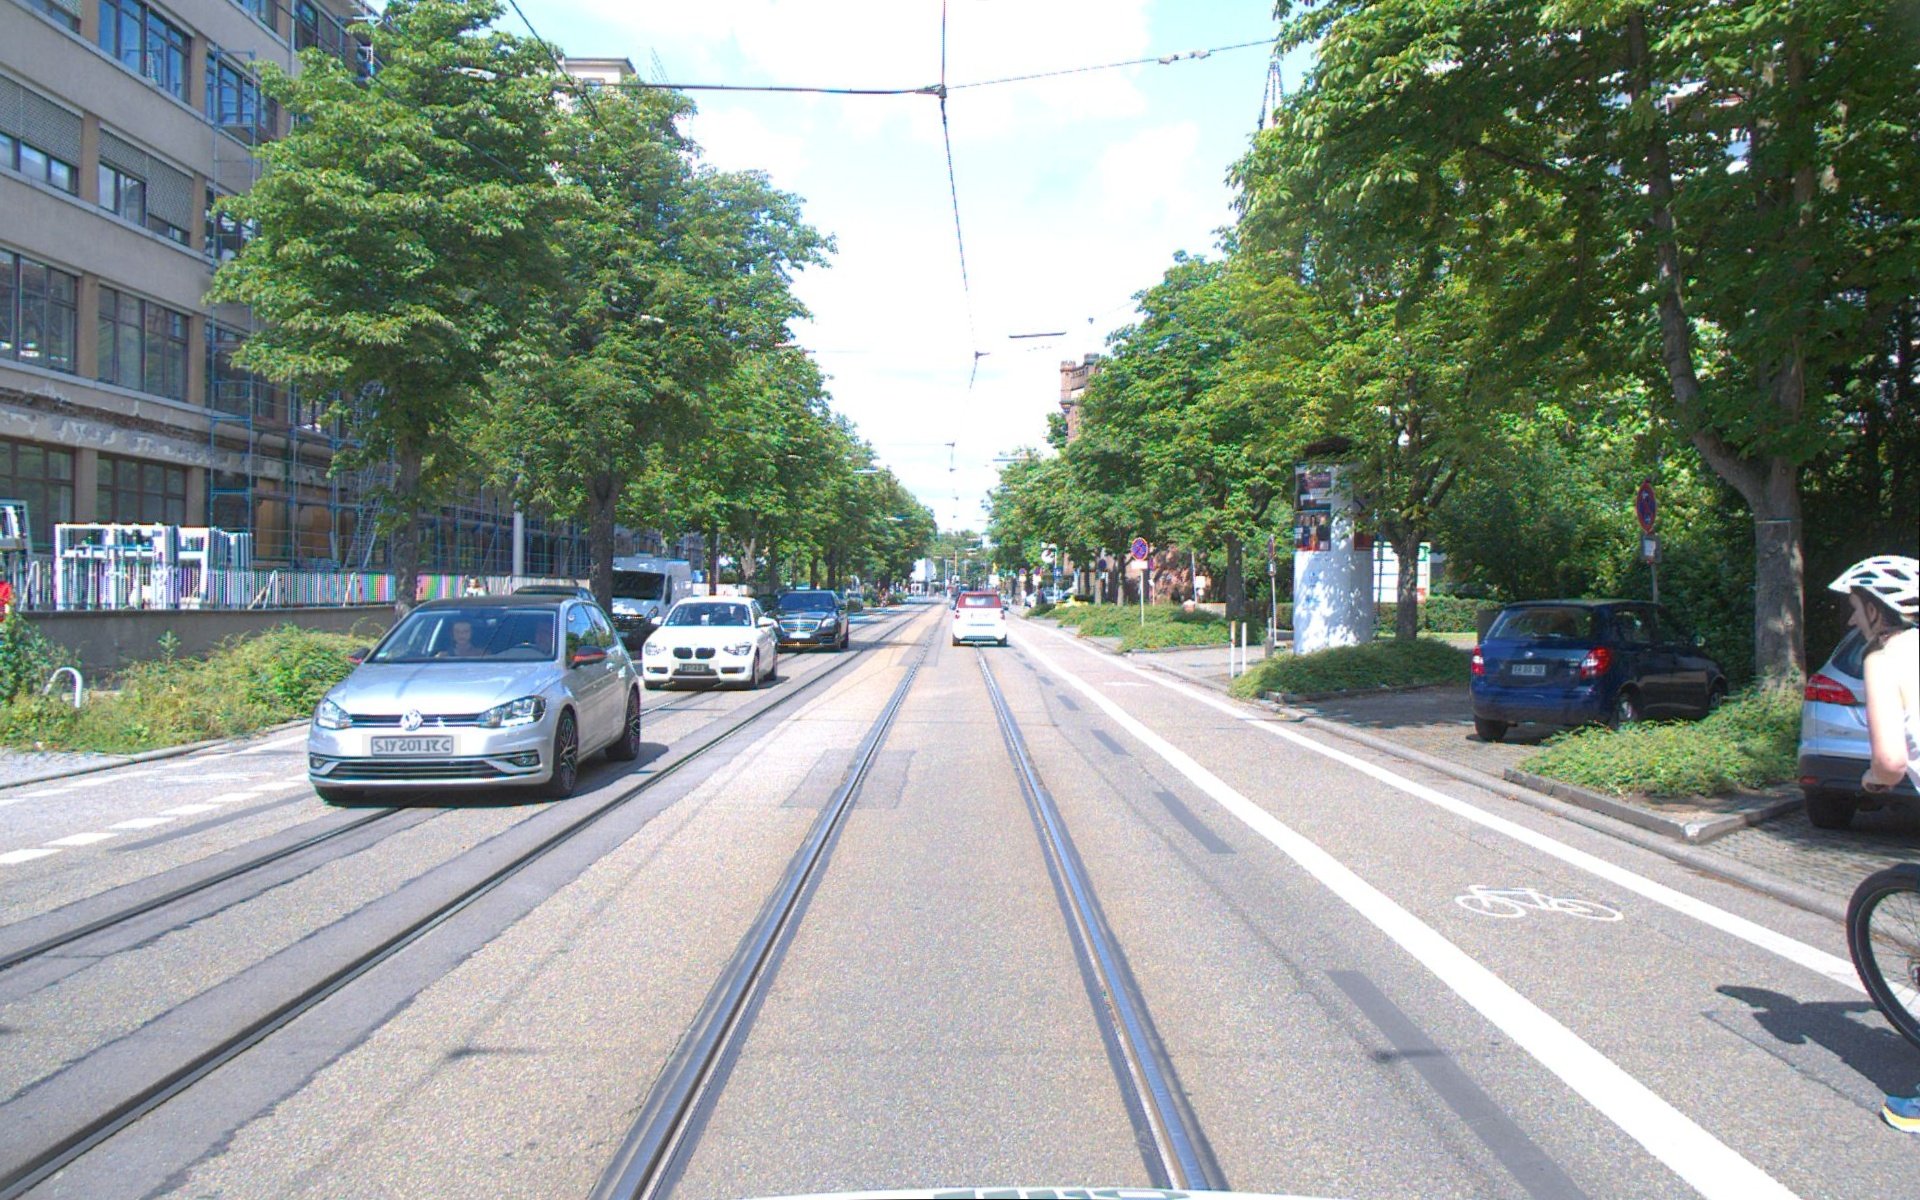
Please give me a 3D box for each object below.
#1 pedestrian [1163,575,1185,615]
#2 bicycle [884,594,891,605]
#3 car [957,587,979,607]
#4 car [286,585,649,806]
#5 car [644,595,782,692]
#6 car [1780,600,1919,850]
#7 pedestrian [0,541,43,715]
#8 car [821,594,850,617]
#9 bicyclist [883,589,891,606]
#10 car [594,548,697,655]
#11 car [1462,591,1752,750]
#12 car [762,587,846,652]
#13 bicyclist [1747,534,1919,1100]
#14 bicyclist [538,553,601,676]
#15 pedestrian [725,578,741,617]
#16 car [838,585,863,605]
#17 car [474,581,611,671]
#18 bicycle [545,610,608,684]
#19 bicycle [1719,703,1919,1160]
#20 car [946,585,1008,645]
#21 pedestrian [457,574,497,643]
[{"bbox_3d":[11.238,-0.277,86.802,0.957,2.049,1.093,2,0,-2],"label":"pedestrian"},{"bbox_3d":[-6.781,-0.082,153.914,0.606,0.990,1.716,1,0,-2],"label":"bicycle"},{"bbox_3d":[0.589,-0.244,130.559,1.631,1.518,3.620,1,1,-1],"label":"car"},{"bbox_3d":[-3.642,0.631,12.952,1.737,1.441,3.851,-1,0,-1],"label":"car"},{"bbox_3d":[-3.886,0.642,26.617,1.652,1.430,4.225,0,0,-1],"label":"car"},{"bbox_3d":[7.277,0.805,11.393,3.773,1.500,1.628,1,1,-42],"label":"car"},{"bbox_3d":[-10.699,0.291,18.273,0.694,1.863,0.661,4,1,-6],"label":"pedestrian"},{"bbox_3d":[-9.010,0.393,120.321,1.768,1.543,4.102,2,0,0],"label":"car"},{"bbox_3d":[-6.796,-0.218,153.803,0.645,1.607,0.945,2,0,-2],"label":"bicyclist"},{"bbox_3d":[-8.485,0.047,45.044,1.733,2.685,5.321,2,0,-1],"label":"car"},{"bbox_3d":[7.157,0.677,18.106,1.588,1.512,3.973,0,0,43],"label":"car"},{"bbox_3d":[-3.917,0.471,42.220,1.764,1.534,4.535,1,0,-1],"label":"car"},{"bbox_3d":[3.084,0.613,5.055,0.871,1.555,1.086,2,0,6],"label":"bicyclist"},{"bbox_3d":[-6.686,0.247,28.362,0.859,2.049,0.833,-1,-1,-2],"label":"bicyclist"},{"bbox_3d":[-12.098,-0.117,88.098,0.788,2.049,0.484,1,0,-9],"label":"pedestrian"},{"bbox_3d":[-8.847,-0.407,133.537,1.768,1.543,4.102,1,0,0],"label":"car"},{"bbox_3d":[-8.595,0.499,34.370,1.768,1.691,4.102,2,0,0],"label":"car"},{"bbox_3d":[-6.616,0.791,28.622,0.631,1.186,1.944,-2,0,-1],"label":"bicycle"},{"bbox_3d":[3.087,0.960,4.879,0.856,1.145,2.137,2,0,5],"label":"bicycle"},{"bbox_3d":[0.451,0.407,47.920,1.632,1.653,3.619,0,1,-2],"label":"car"},{"bbox_3d":[-11.865,0.209,40.629,0.749,1.648,0.594,2,0,-1],"label":"pedestrian"}]
